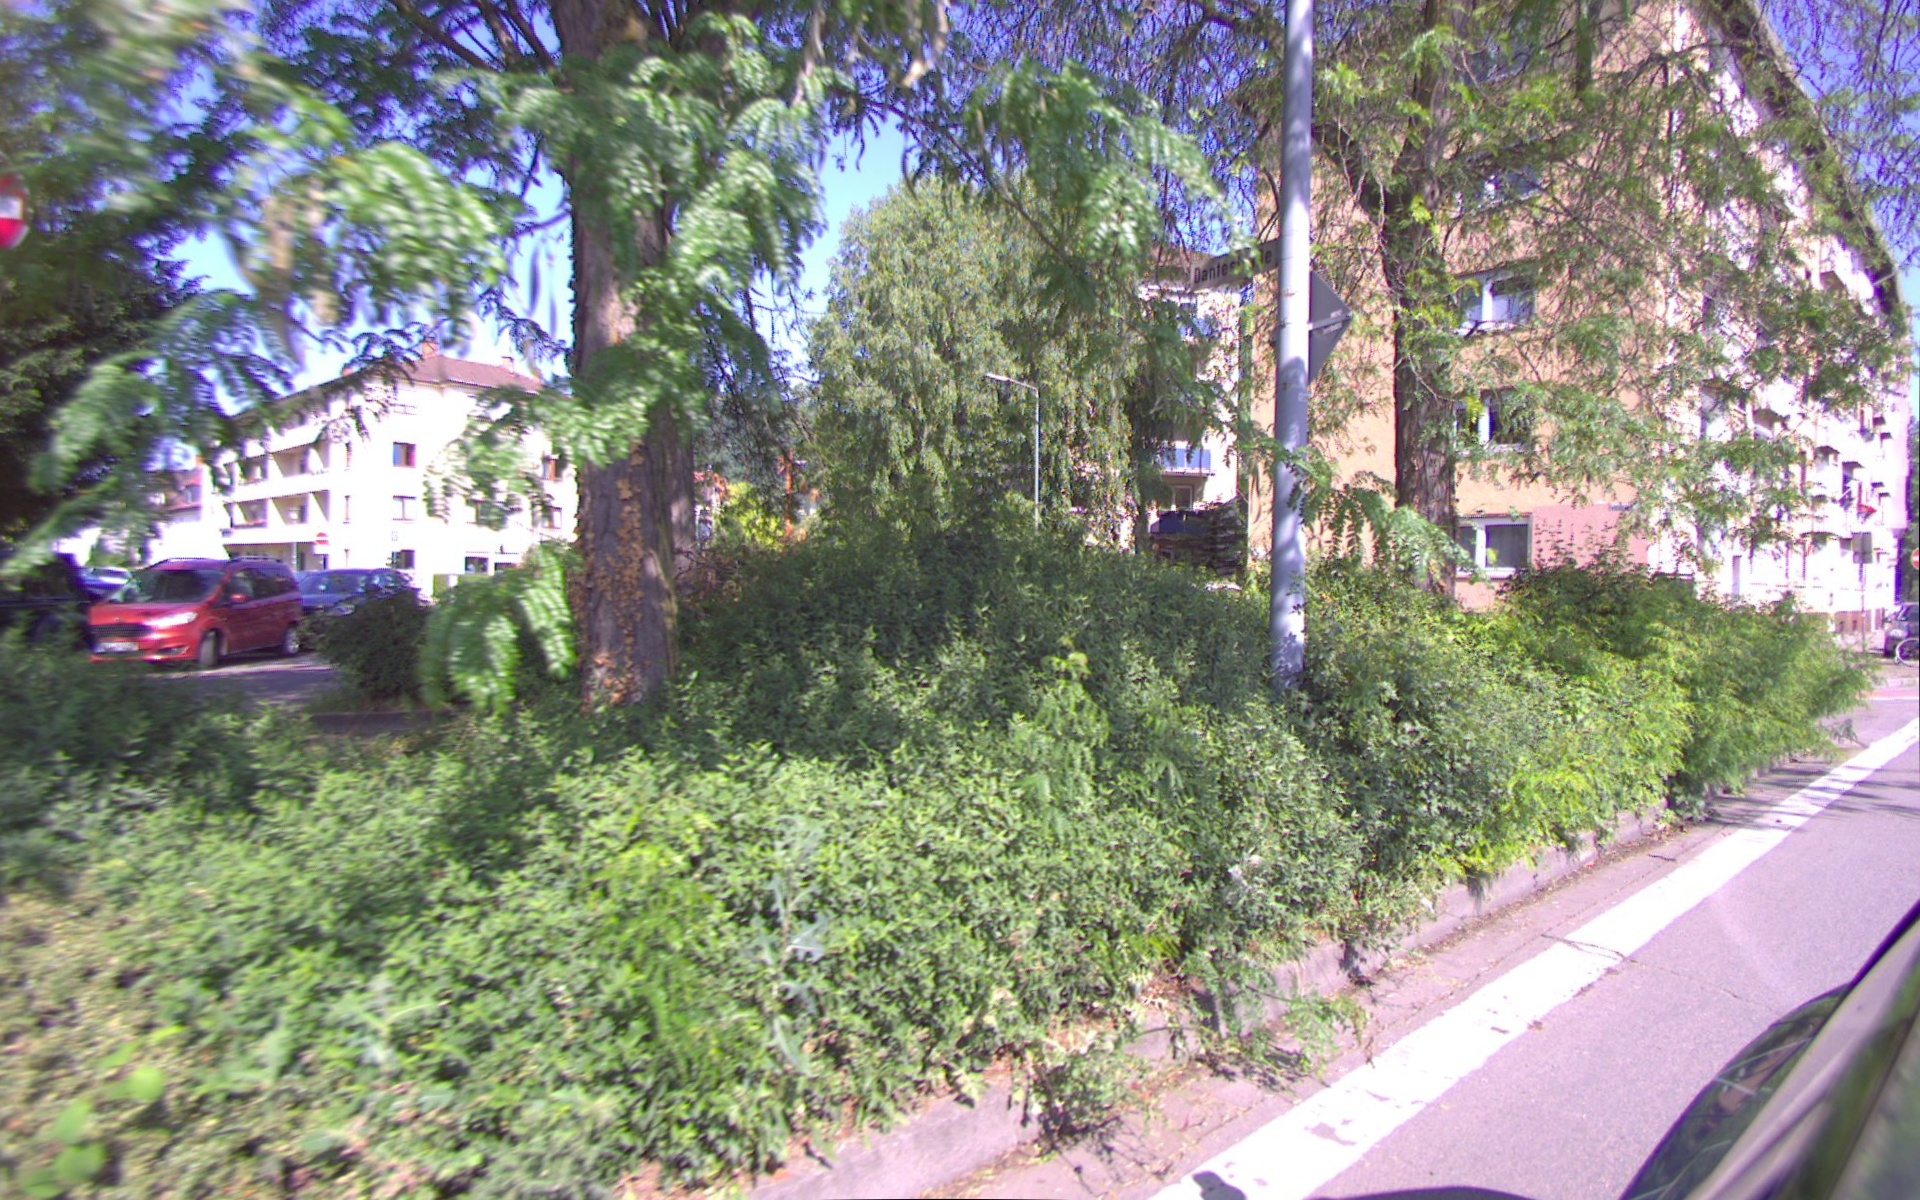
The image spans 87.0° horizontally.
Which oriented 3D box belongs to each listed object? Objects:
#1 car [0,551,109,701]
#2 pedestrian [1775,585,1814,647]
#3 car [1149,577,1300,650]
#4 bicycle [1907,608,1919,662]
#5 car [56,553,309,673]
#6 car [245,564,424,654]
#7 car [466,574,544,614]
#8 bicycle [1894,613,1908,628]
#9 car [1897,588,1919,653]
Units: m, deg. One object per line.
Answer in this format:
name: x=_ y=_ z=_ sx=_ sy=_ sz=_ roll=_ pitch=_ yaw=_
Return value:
car: x=-11.493 y=0.287 z=11.057 sx=1.653 sy=1.675 sz=3.594 roll=0 pitch=1 yaw=-6
pedestrian: x=22.390 y=0.422 z=27.153 sx=0.809 sy=1.629 sz=0.656 roll=0 pitch=1 yaw=-40
car: x=6.573 y=0.299 z=24.997 sx=3.715 sy=1.661 sz=1.660 roll=0 pitch=1 yaw=-37
bicycle: x=21.371 y=0.765 z=22.291 sx=0.702 sy=1.138 sz=1.718 roll=2 pitch=1 yaw=43
car: x=-12.314 y=0.146 z=16.358 sx=1.628 sy=1.694 sz=3.855 roll=1 pitch=1 yaw=-10
car: x=-12.925 y=0.121 z=21.229 sx=1.752 sy=1.694 sz=4.217 roll=0 pitch=1 yaw=-10
car: x=-20.067 y=-0.285 z=44.597 sx=3.826 sy=1.616 sz=1.690 roll=2 pitch=1 yaw=41
bicycle: x=65.293 y=1.421 z=70.207 sx=0.650 sy=0.982 sz=1.835 roll=3 pitch=2 yaw=43
car: x=24.677 y=0.538 z=25.269 sx=1.704 sy=1.532 sz=4.025 roll=4 pitch=2 yaw=44
